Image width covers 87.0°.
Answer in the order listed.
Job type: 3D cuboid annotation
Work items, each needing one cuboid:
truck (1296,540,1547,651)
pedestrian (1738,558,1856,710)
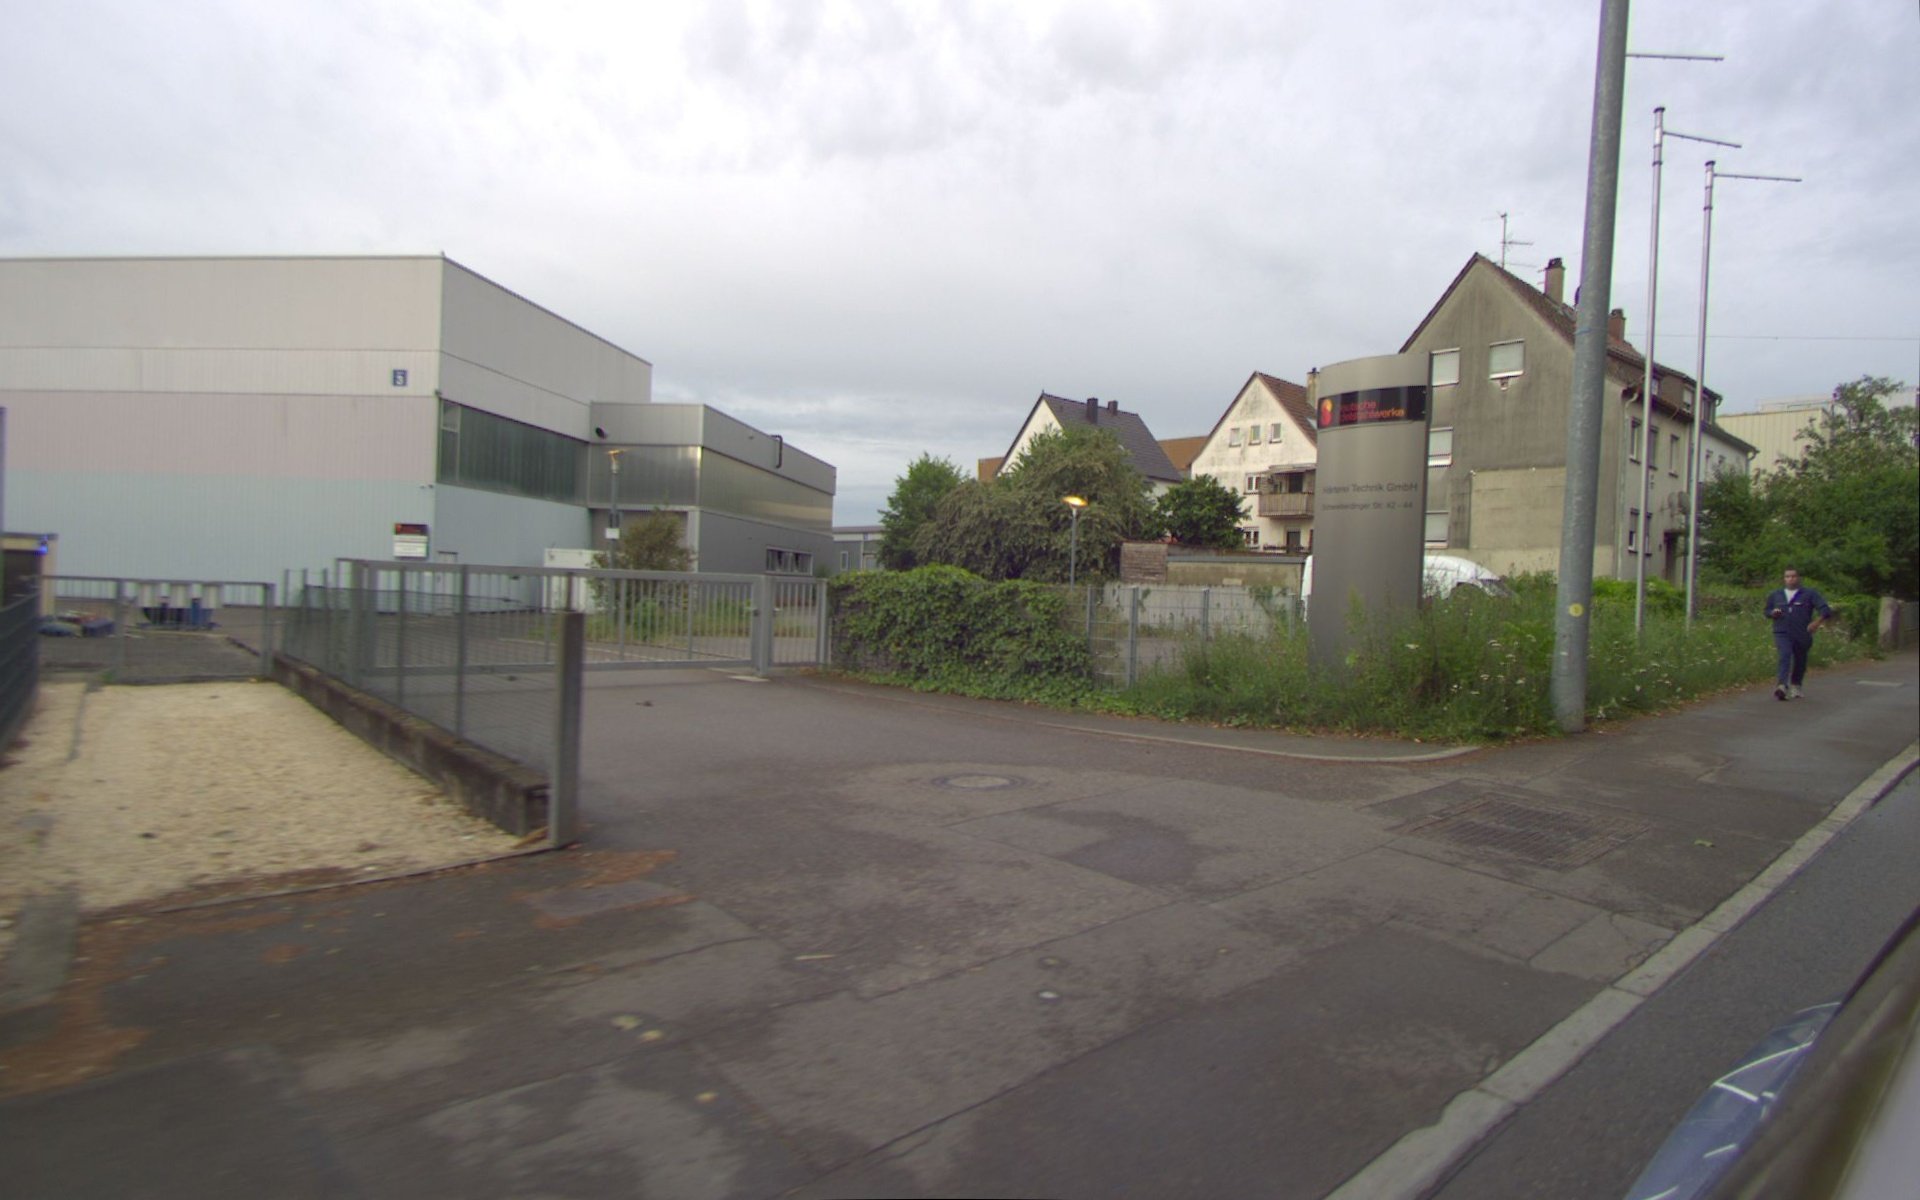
[{"bbox_3d":[12.196,-0.150,27.184,2.008,2.670,5.855,-1,1,-40],"label":"truck"},{"bbox_3d":[11.125,0.407,13.460,0.885,1.920,1.045,-1,2,-40],"label":"pedestrian"}]
